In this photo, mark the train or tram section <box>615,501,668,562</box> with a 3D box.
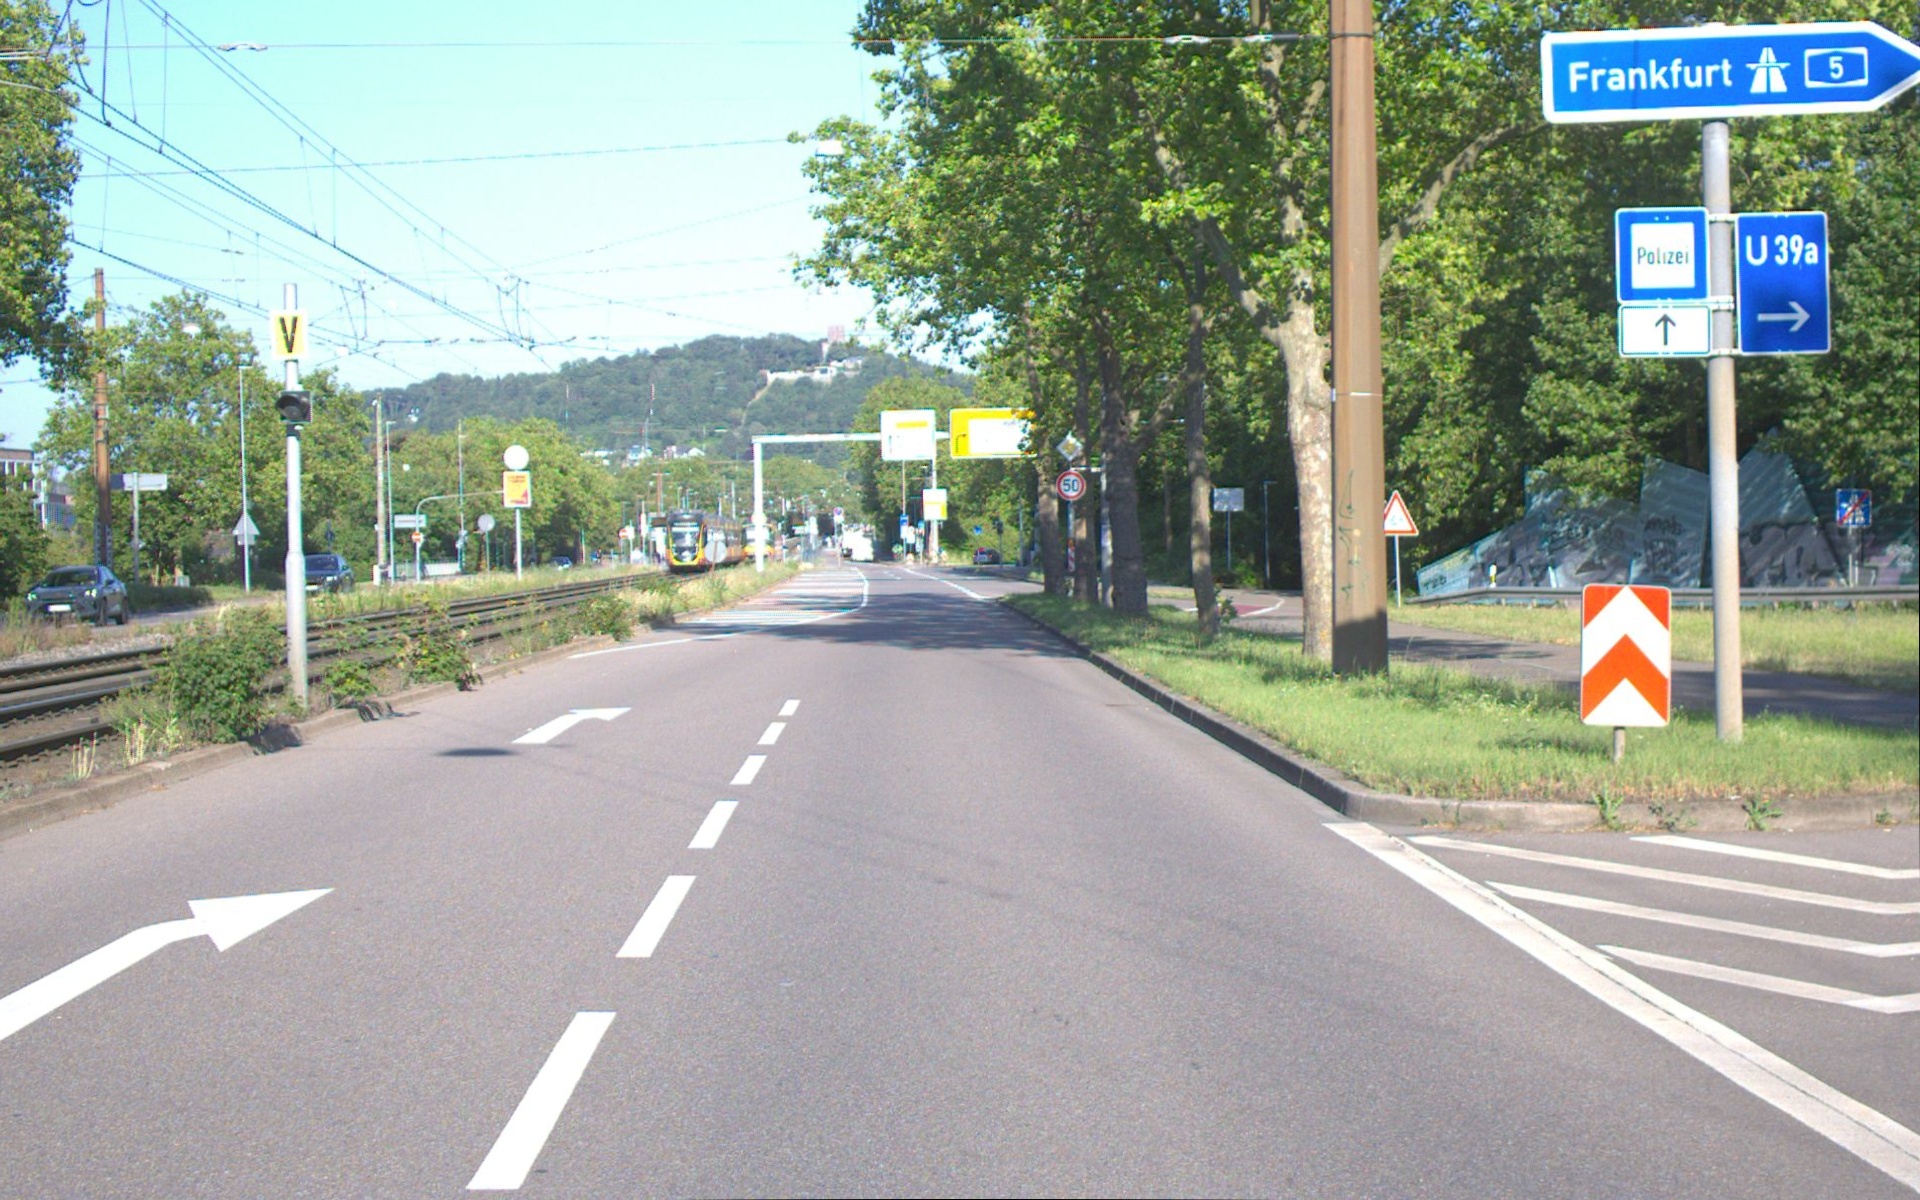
[{"bbox_3d":[-20.619,-4.393,223.078,2.804,3.889,12.334,0,1,-2],"label":"train or tram section"}]

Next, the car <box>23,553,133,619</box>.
[{"bbox_3d":[-21.480,-0.359,83.858,1.710,1.463,4.348,-3,1,-3],"label":"car"}]

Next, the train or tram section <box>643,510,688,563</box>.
[{"bbox_3d":[-22.241,-4.762,260.177,2.823,3.937,12.708,0,1,-2],"label":"train or tram section"}]

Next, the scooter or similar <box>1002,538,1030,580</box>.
[{"bbox_3d":[3.677,-2.692,226.491,1.681,2.706,4.869,0,1,-1],"label":"scooter or similar"}]

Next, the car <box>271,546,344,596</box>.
[{"bbox_3d":[-23.443,-1.046,123.670,1.898,1.688,4.942,-3,1,-3],"label":"car"}]
